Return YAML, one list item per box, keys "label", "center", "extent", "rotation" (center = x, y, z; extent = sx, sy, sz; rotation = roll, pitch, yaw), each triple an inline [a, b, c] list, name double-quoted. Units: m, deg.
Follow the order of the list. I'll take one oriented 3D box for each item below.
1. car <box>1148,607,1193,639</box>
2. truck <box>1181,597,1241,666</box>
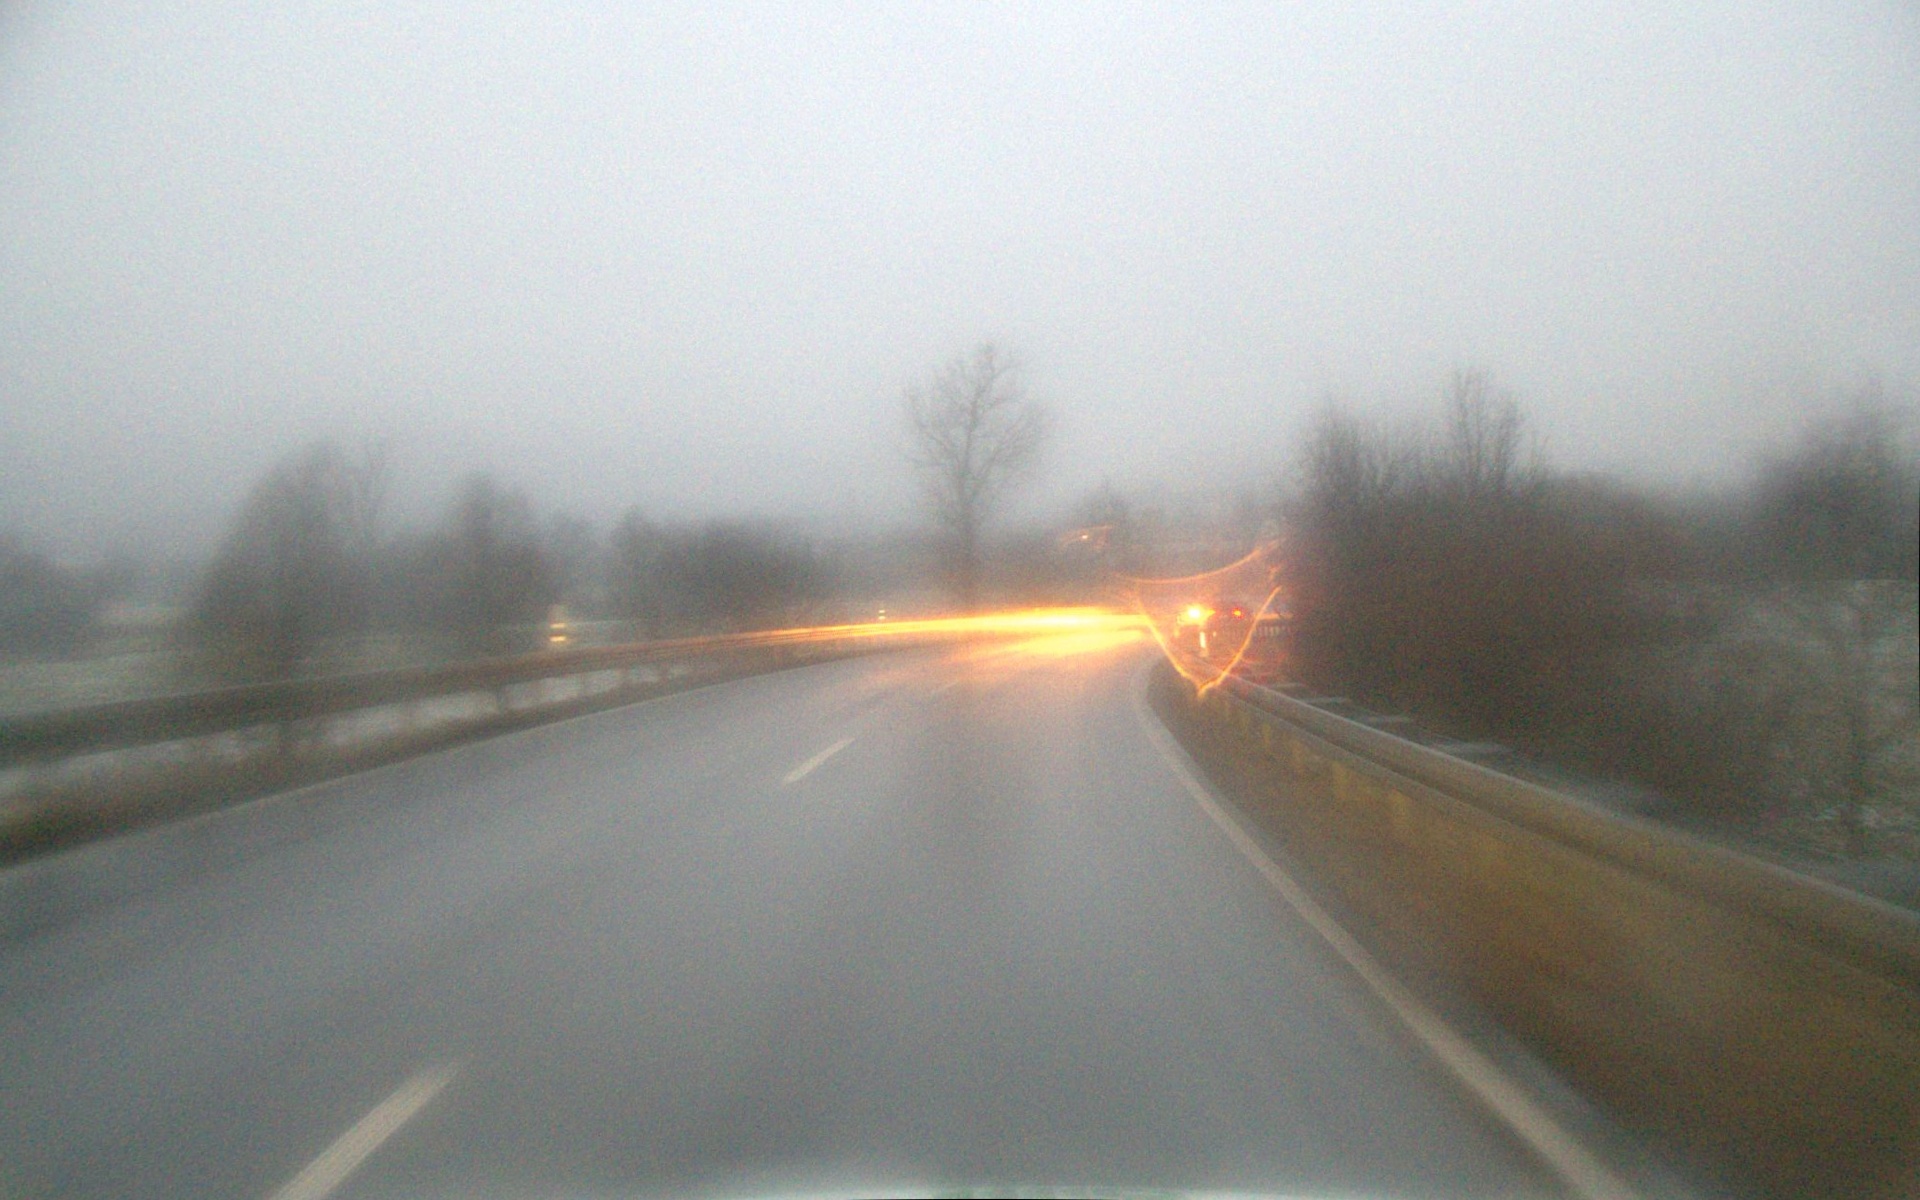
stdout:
- label: "car"
  center: [11.693, 1.241, 91.753]
  extent: [1.967, 1.663, 4.877]
  rotation: [0, 0, 13]
- label: "truck"
  center: [12.314, 1.489, 81.432]
  extent: [2.479, 2.918, 5.927]
  rotation: [4, 2, 6]
